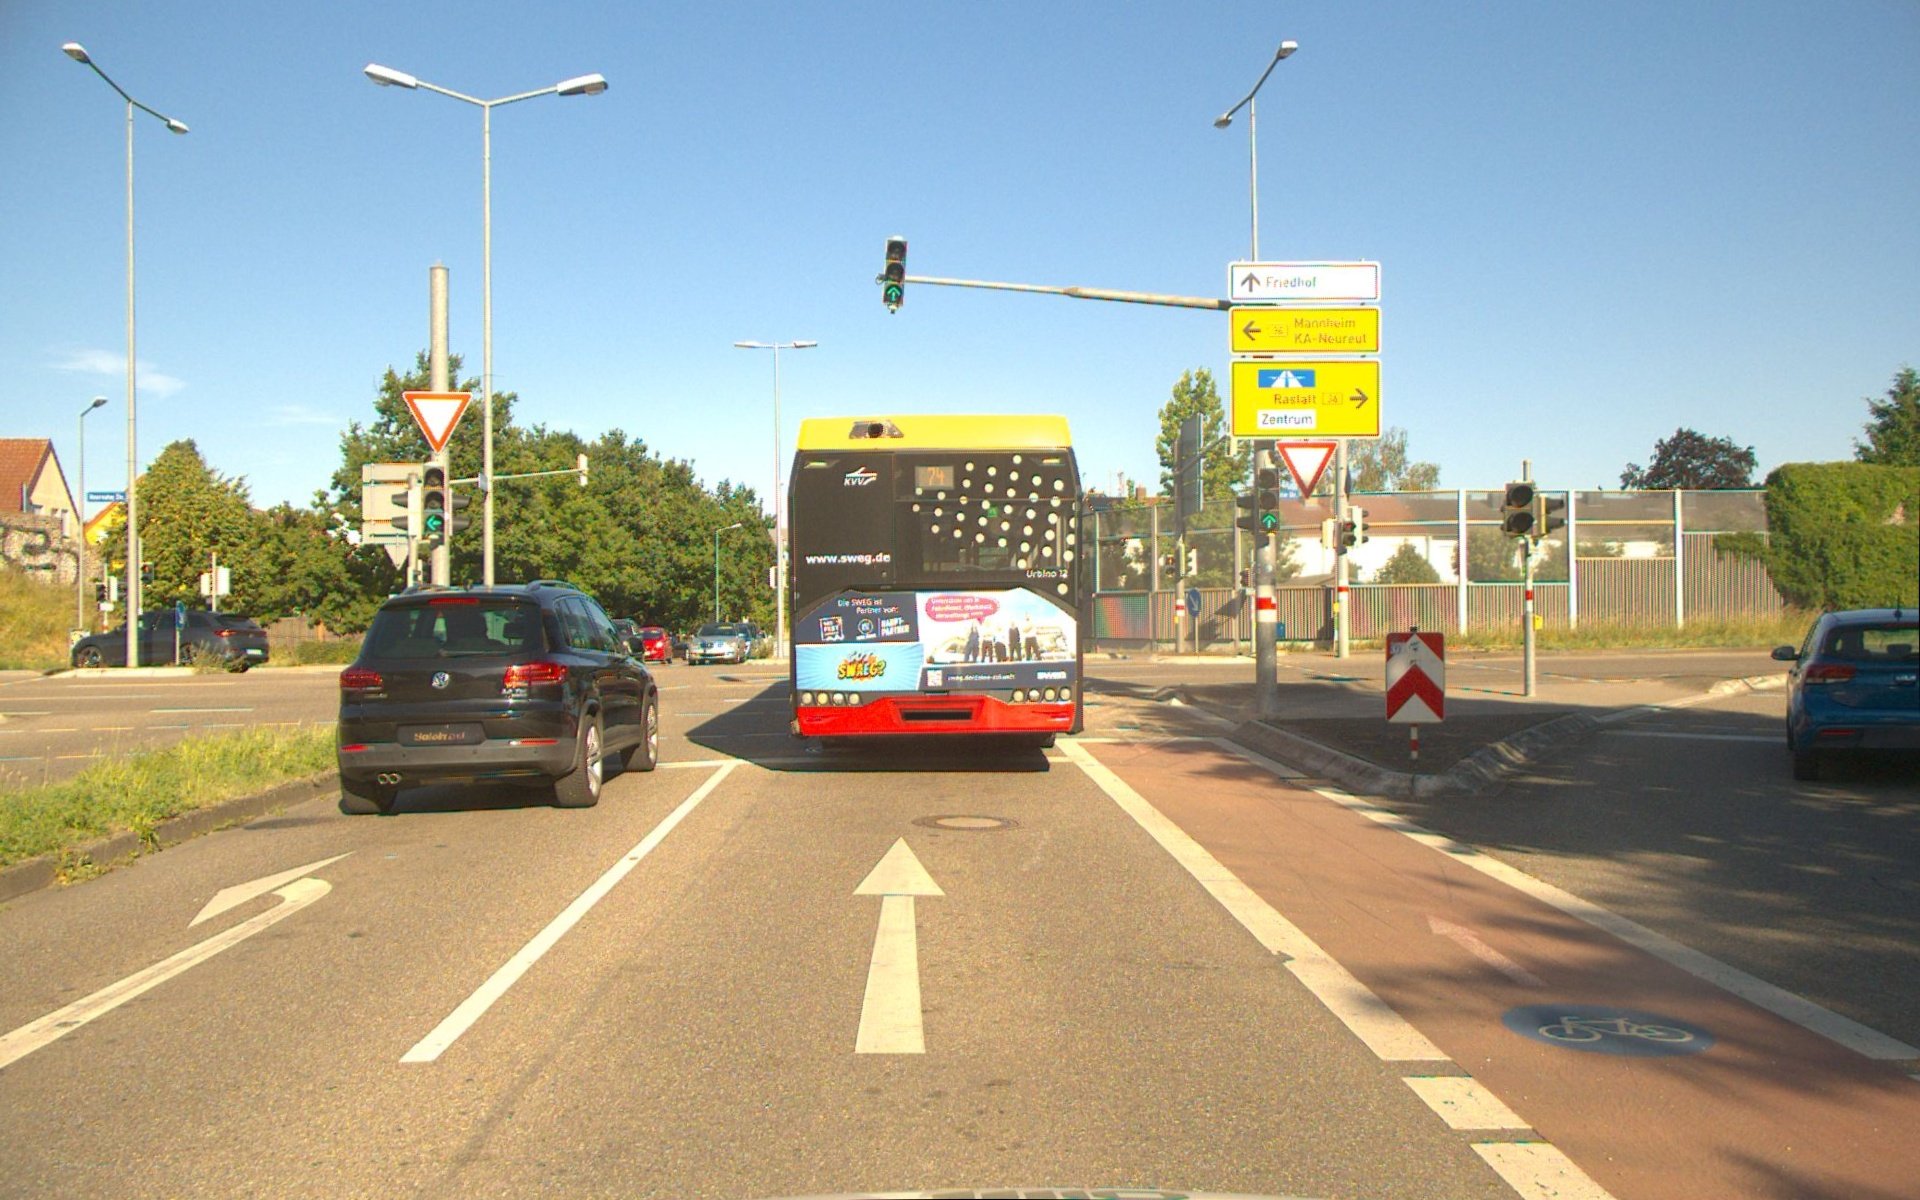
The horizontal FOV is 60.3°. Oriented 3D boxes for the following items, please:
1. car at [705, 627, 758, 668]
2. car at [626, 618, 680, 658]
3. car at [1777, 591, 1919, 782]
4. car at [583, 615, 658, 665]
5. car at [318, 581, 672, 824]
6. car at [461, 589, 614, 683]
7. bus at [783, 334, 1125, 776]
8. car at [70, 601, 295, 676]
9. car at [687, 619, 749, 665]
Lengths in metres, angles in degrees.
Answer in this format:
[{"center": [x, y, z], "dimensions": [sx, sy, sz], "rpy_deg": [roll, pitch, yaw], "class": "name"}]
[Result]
[{"center": [-8.902, 1.851, 64.736], "dimensions": [1.712, 1.509, 3.885], "rpy_deg": [-1, -1, -3], "class": "car"}, {"center": [-12.225, 1.510, 66.029], "dimensions": [1.612, 1.509, 3.710], "rpy_deg": [-1, -1, -3], "class": "car"}, {"center": [8.537, 0.699, 15.176], "dimensions": [1.697, 1.465, 3.792], "rpy_deg": [-1, 1, 24], "class": "car"}, {"center": [-12.037, 1.426, 58.898], "dimensions": [1.954, 1.673, 4.527], "rpy_deg": [-1, -1, -3], "class": "car"}, {"center": [-3.547, 0.710, 13.380], "dimensions": [1.790, 1.656, 3.999], "rpy_deg": [0, 0, -1], "class": "car"}, {"center": [-8.380, 0.634, 32.532], "dimensions": [2.017, 1.644, 4.379], "rpy_deg": [-1, 1, -27], "class": "car"}, {"center": [-0.320, -0.347, 19.549], "dimensions": [2.702, 3.519, 12.391], "rpy_deg": [1, 0, -3], "class": "bus"}, {"center": [-17.803, 0.868, 37.953], "dimensions": [4.309, 1.644, 2.049], "rpy_deg": [-1, 0, 12], "class": "car"}, {"center": [-8.573, 1.474, 58.900], "dimensions": [1.757, 1.532, 4.527], "rpy_deg": [-1, -1, -3], "class": "car"}]
